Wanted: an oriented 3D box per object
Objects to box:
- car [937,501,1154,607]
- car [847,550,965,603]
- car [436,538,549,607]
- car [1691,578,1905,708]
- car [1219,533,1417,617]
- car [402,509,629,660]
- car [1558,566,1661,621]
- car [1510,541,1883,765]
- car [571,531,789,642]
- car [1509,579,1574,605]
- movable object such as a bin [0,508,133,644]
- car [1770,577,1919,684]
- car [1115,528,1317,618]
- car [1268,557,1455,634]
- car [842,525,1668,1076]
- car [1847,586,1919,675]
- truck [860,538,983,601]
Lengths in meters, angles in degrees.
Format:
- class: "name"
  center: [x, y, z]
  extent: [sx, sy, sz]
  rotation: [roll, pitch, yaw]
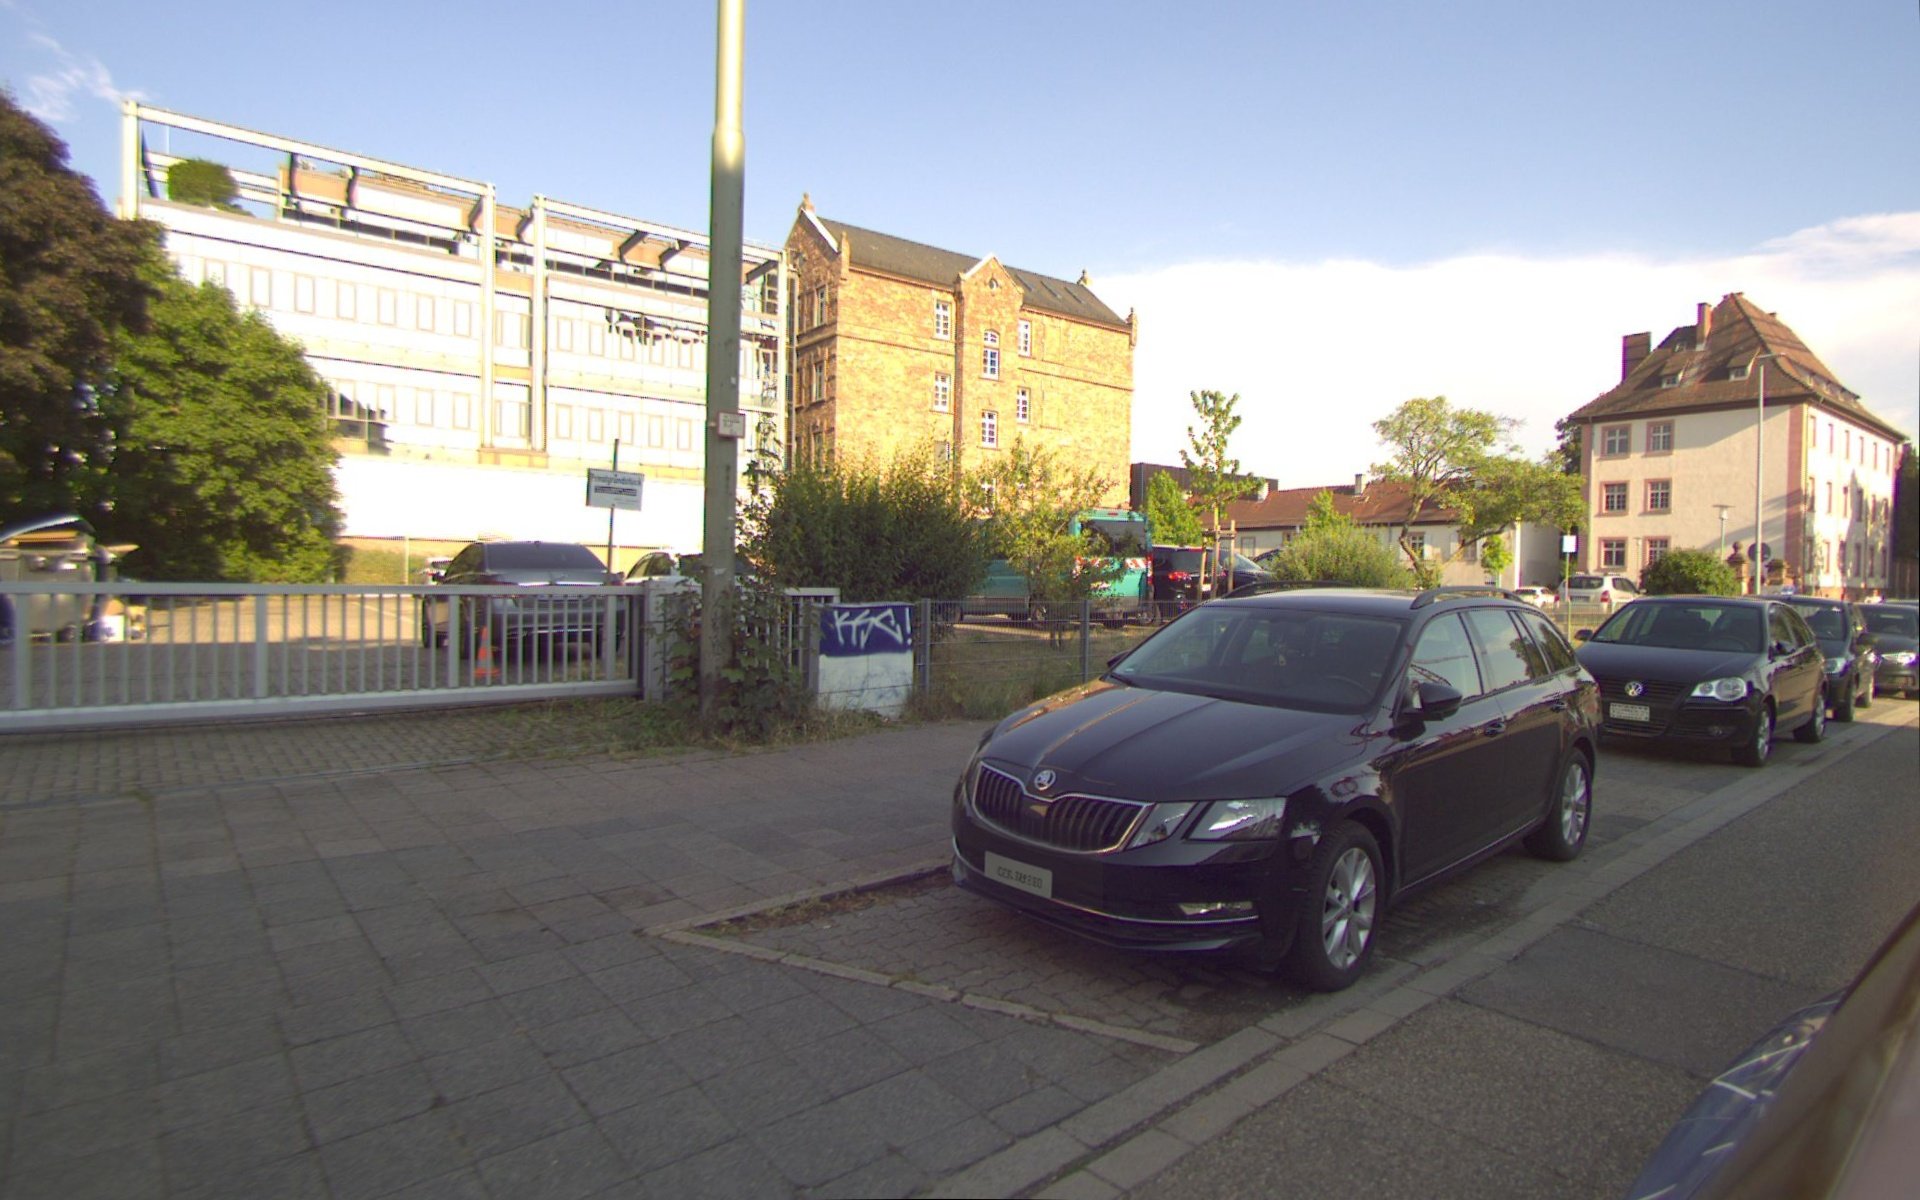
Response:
- class: "car"
  center: [1.563, -0.802, 19.645]
  extent: [1.965, 1.816, 3.994]
  rotation: [-1, 0, -40]
- class: "car"
  center: [-1.890, -0.751, 33.800]
  extent: [1.701, 1.622, 4.488]
  rotation: [-1, 0, -37]
- class: "car"
  center: [-12.116, -0.650, 26.087]
  extent: [1.701, 1.622, 4.488]
  rotation: [-1, 0, -37]
- class: "car"
  center: [11.266, 0.525, 13.517]
  extent: [3.891, 1.454, 1.653]
  rotation: [2, 0, -42]
- class: "car"
  center: [8.425, -0.547, 24.056]
  extent: [1.965, 1.816, 3.994]
  rotation: [-1, 0, -40]
- class: "car"
  center: [-5.919, -0.269, 13.159]
  extent: [1.701, 1.621, 4.490]
  rotation: [-1, 3, -37]
- class: "car"
  center: [21.239, -0.235, 33.037]
  extent: [3.928, 1.683, 1.656]
  rotation: [-1, 0, -39]
- class: "car"
  center: [7.591, 0.348, 10.272]
  extent: [4.499, 1.801, 1.906]
  rotation: [-1, 3, -39]
- class: "car"
  center: [-4.473, -0.180, 15.669]
  extent: [1.701, 1.473, 4.488]
  rotation: [-1, 0, -37]
- class: "car"
  center: [34.154, -0.468, 59.409]
  extent: [3.928, 1.471, 1.998]
  rotation: [-1, 0, -39]
- class: "movable object such as a bin"
  center: [-12.290, -0.315, 13.857]
  extent: [1.269, 1.737, 1.583]
  rotation: [-1, 0, -31]
- class: "car"
  center: [15.279, 0.416, 16.721]
  extent: [4.724, 1.549, 1.905]
  rotation: [-1, -1, -39]
- class: "car"
  center: [5.629, -0.555, 22.647]
  extent: [1.964, 1.816, 3.996]
  rotation: [-1, 0, -38]
- class: "car"
  center: [10.217, -0.100, 25.964]
  extent: [1.965, 1.816, 3.994]
  rotation: [-1, 0, -40]
- class: "car"
  center: [1.926, 0.503, 5.323]
  extent: [4.863, 1.580, 1.889]
  rotation: [-1, 6, -43]
- class: "car"
  center: [19.352, 0.552, 20.153]
  extent: [4.359, 1.559, 1.747]
  rotation: [-1, 3, -39]
- class: "truck"
  center: [-1.938, -1.337, 47.478]
  extent: [2.496, 2.717, 6.440]
  rotation: [-1, 0, -37]
